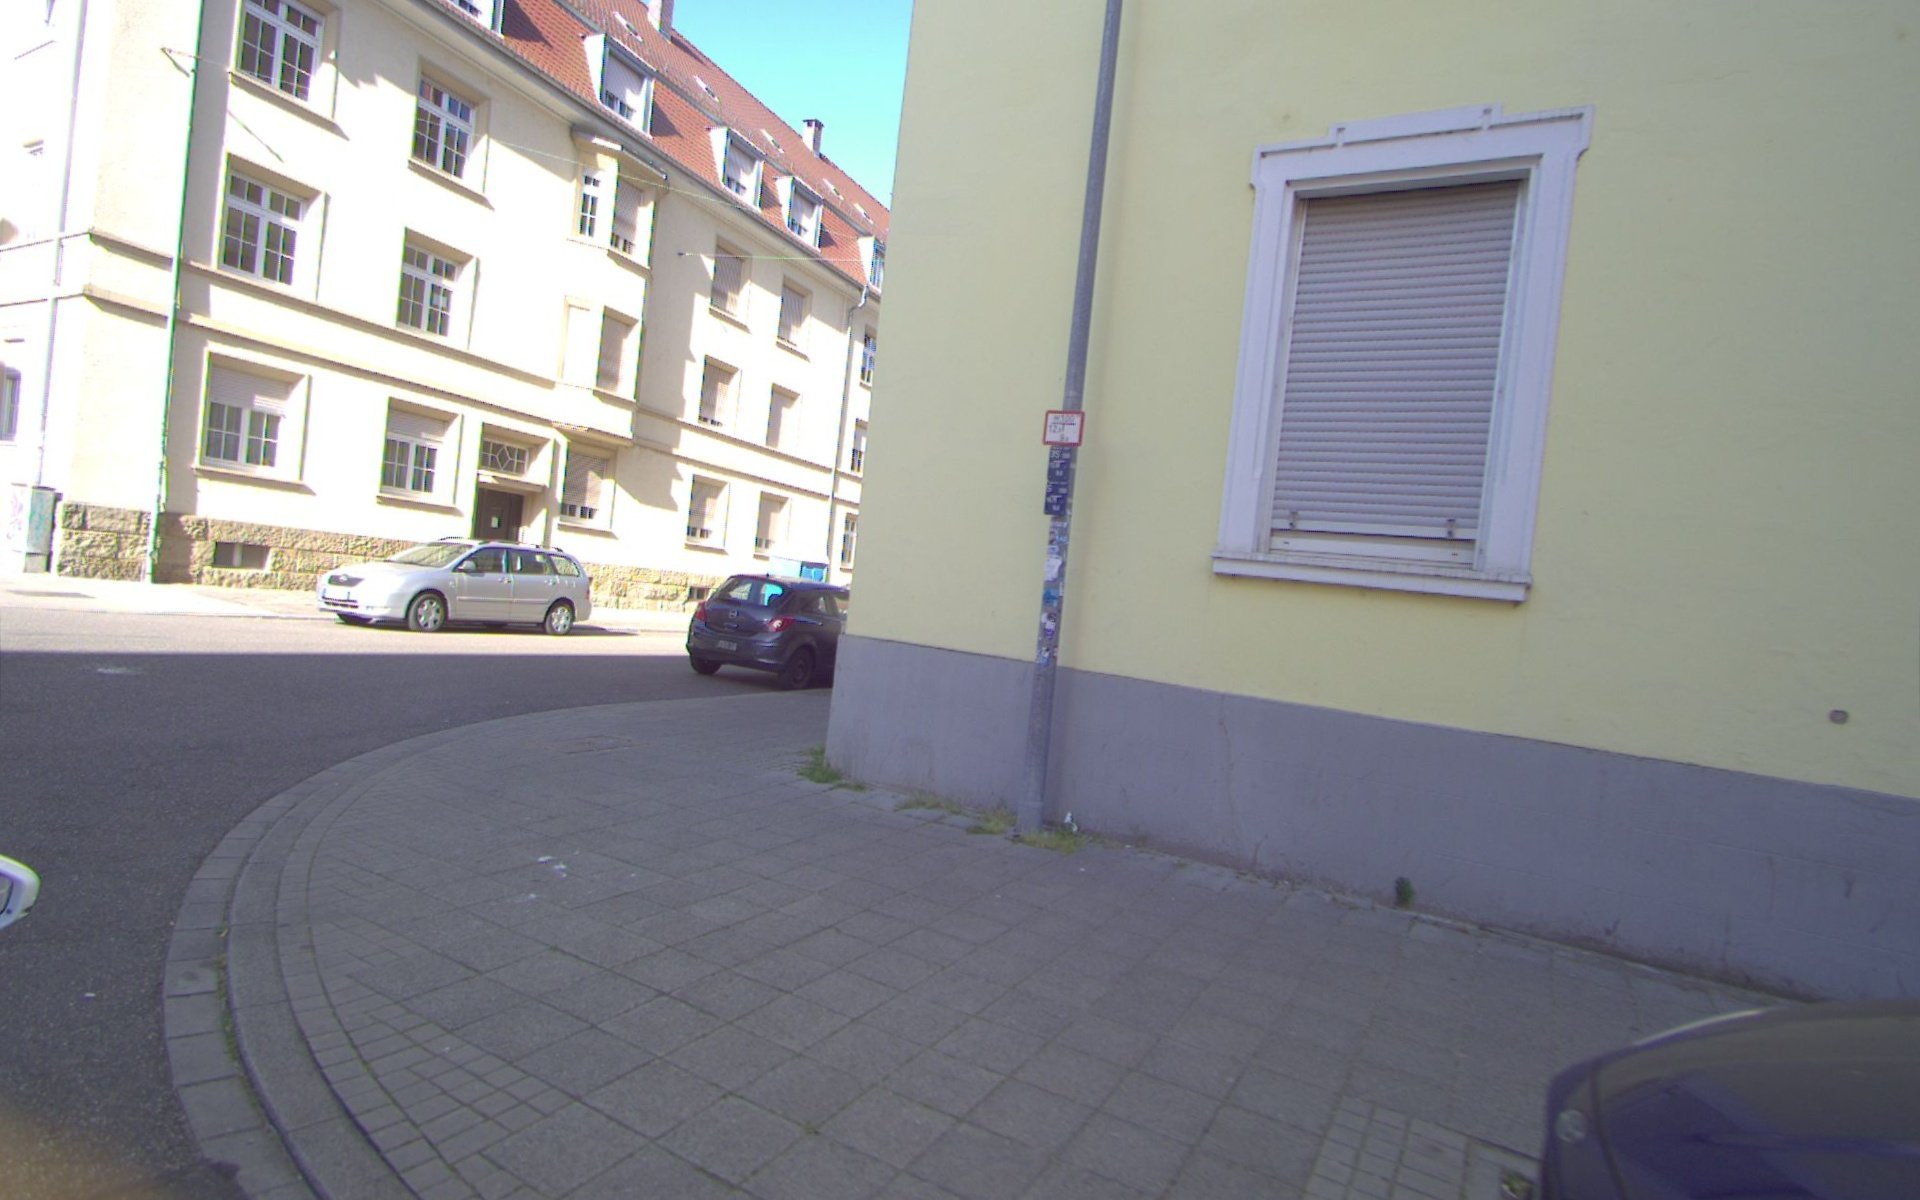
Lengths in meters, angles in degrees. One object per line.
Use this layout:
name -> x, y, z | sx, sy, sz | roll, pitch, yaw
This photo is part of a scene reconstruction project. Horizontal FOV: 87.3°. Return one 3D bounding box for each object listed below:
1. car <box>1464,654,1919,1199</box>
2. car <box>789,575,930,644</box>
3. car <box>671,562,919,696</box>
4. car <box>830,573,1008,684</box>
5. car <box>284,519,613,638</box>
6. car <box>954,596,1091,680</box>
car -> 2.747, 1.087, 0.860 | 4.013, 1.491, 1.764 | 7, 3, 27
car -> -2.670, 0.317, 27.864 | 1.795, 1.573, 4.549 | 5, -1, 24
car -> -2.205, 0.437, 14.400 | 1.662, 1.486, 3.631 | 7, 0, 24
car -> -0.631, 0.545, 18.434 | 1.662, 1.619, 3.631 | 9, 1, 24
car -> -7.963, -0.247, 16.217 | 1.795, 1.486, 4.549 | 5, -1, 24
car -> 1.502, 0.868, 22.527 | 1.662, 1.490, 3.865 | 9, 1, 24
